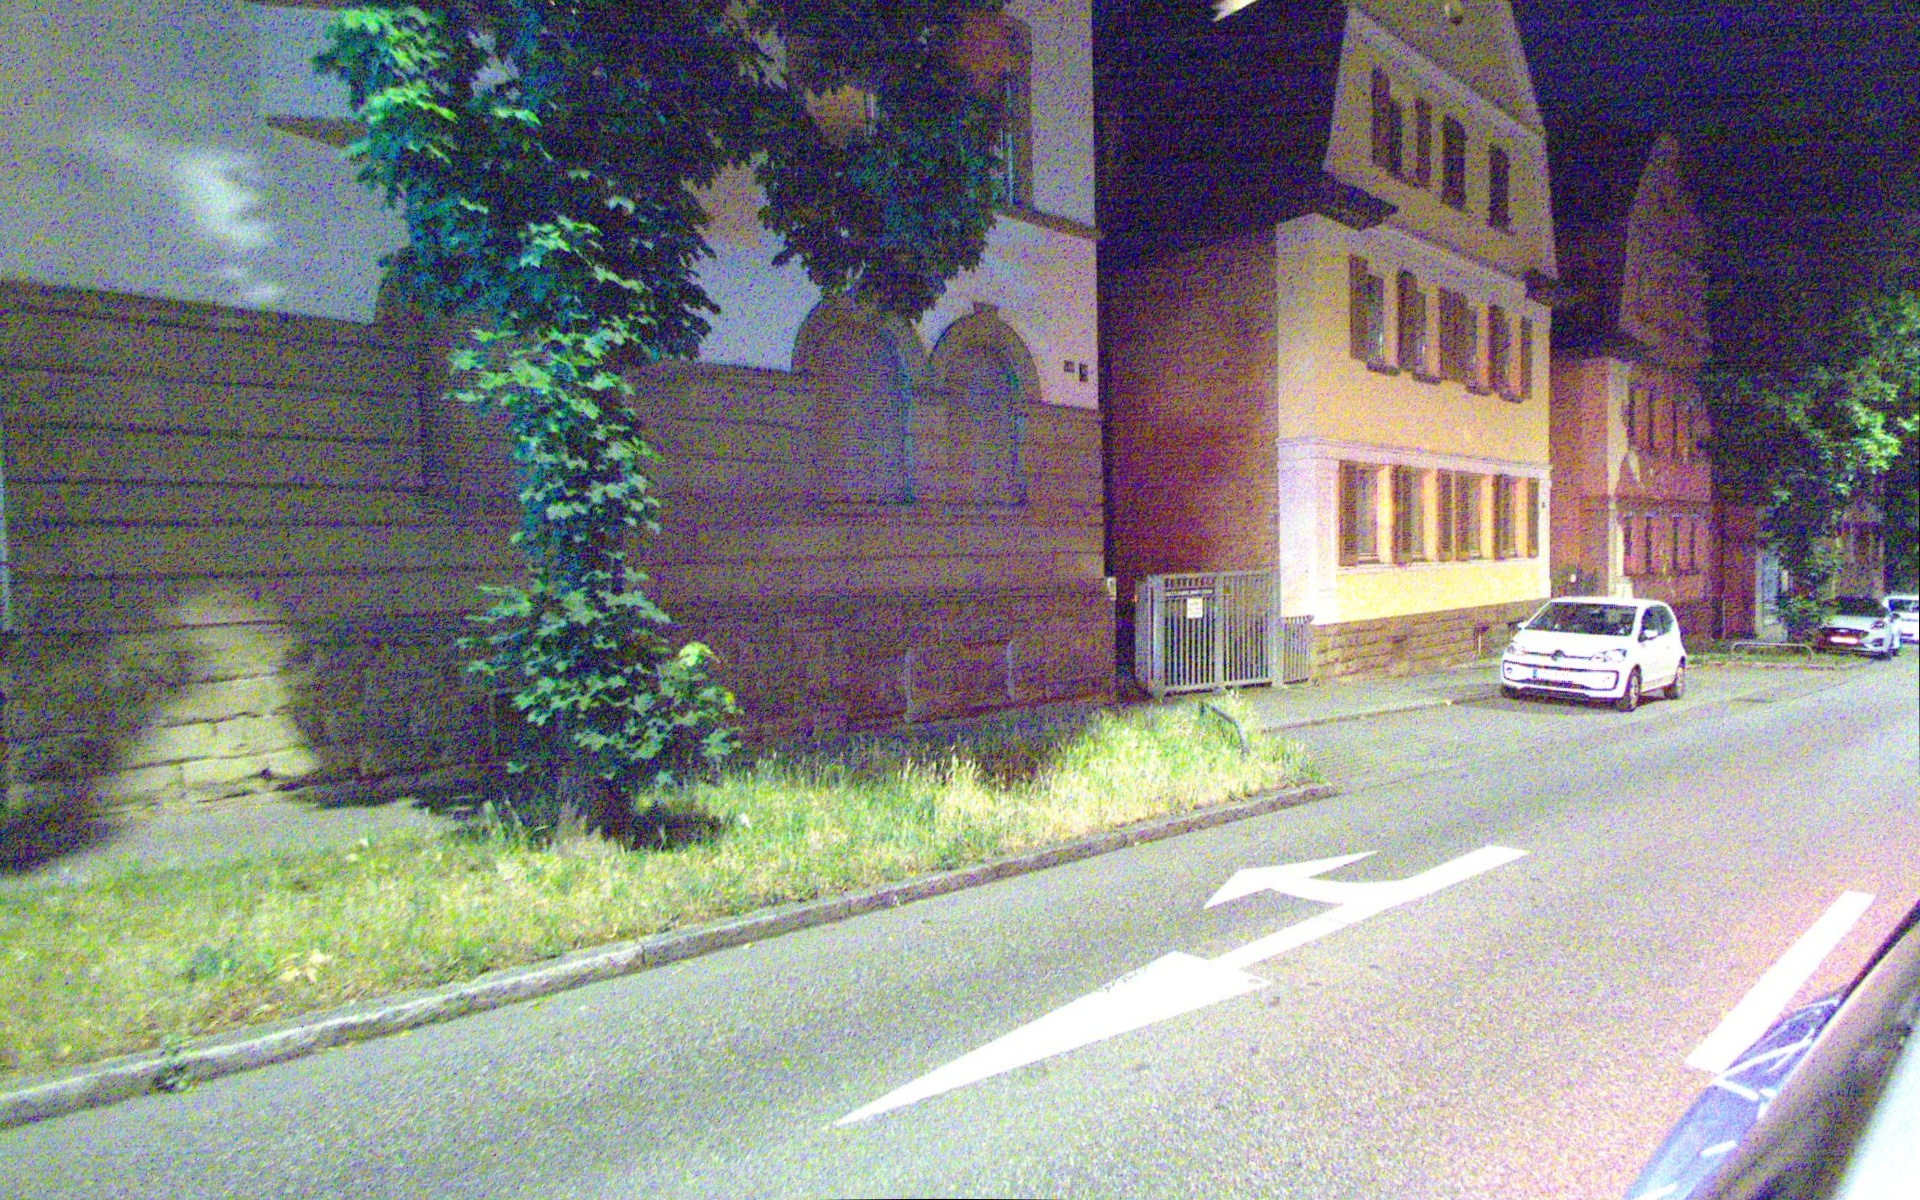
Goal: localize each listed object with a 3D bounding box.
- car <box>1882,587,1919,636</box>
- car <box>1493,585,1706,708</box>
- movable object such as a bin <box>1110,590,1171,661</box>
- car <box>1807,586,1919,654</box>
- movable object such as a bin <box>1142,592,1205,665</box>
[{"bbox_3d":[33.789,0.387,35.351,4.281,1.616,1.742,0,3,-40],"label":"car"},{"bbox_3d":[9.322,0.575,14.661,3.541,1.503,1.671,0,2,-42],"label":"car"},{"bbox_3d":[2.804,0.382,15.734,0.742,1.062,0.608,0,0,-41],"label":"movable object such as a bin"},{"bbox_3d":[23.806,0.468,26.582,3.977,1.572,1.862,0,3,-43],"label":"car"},{"bbox_3d":[3.213,0.418,15.223,0.742,1.062,0.608,0,0,-41],"label":"movable object such as a bin"}]
